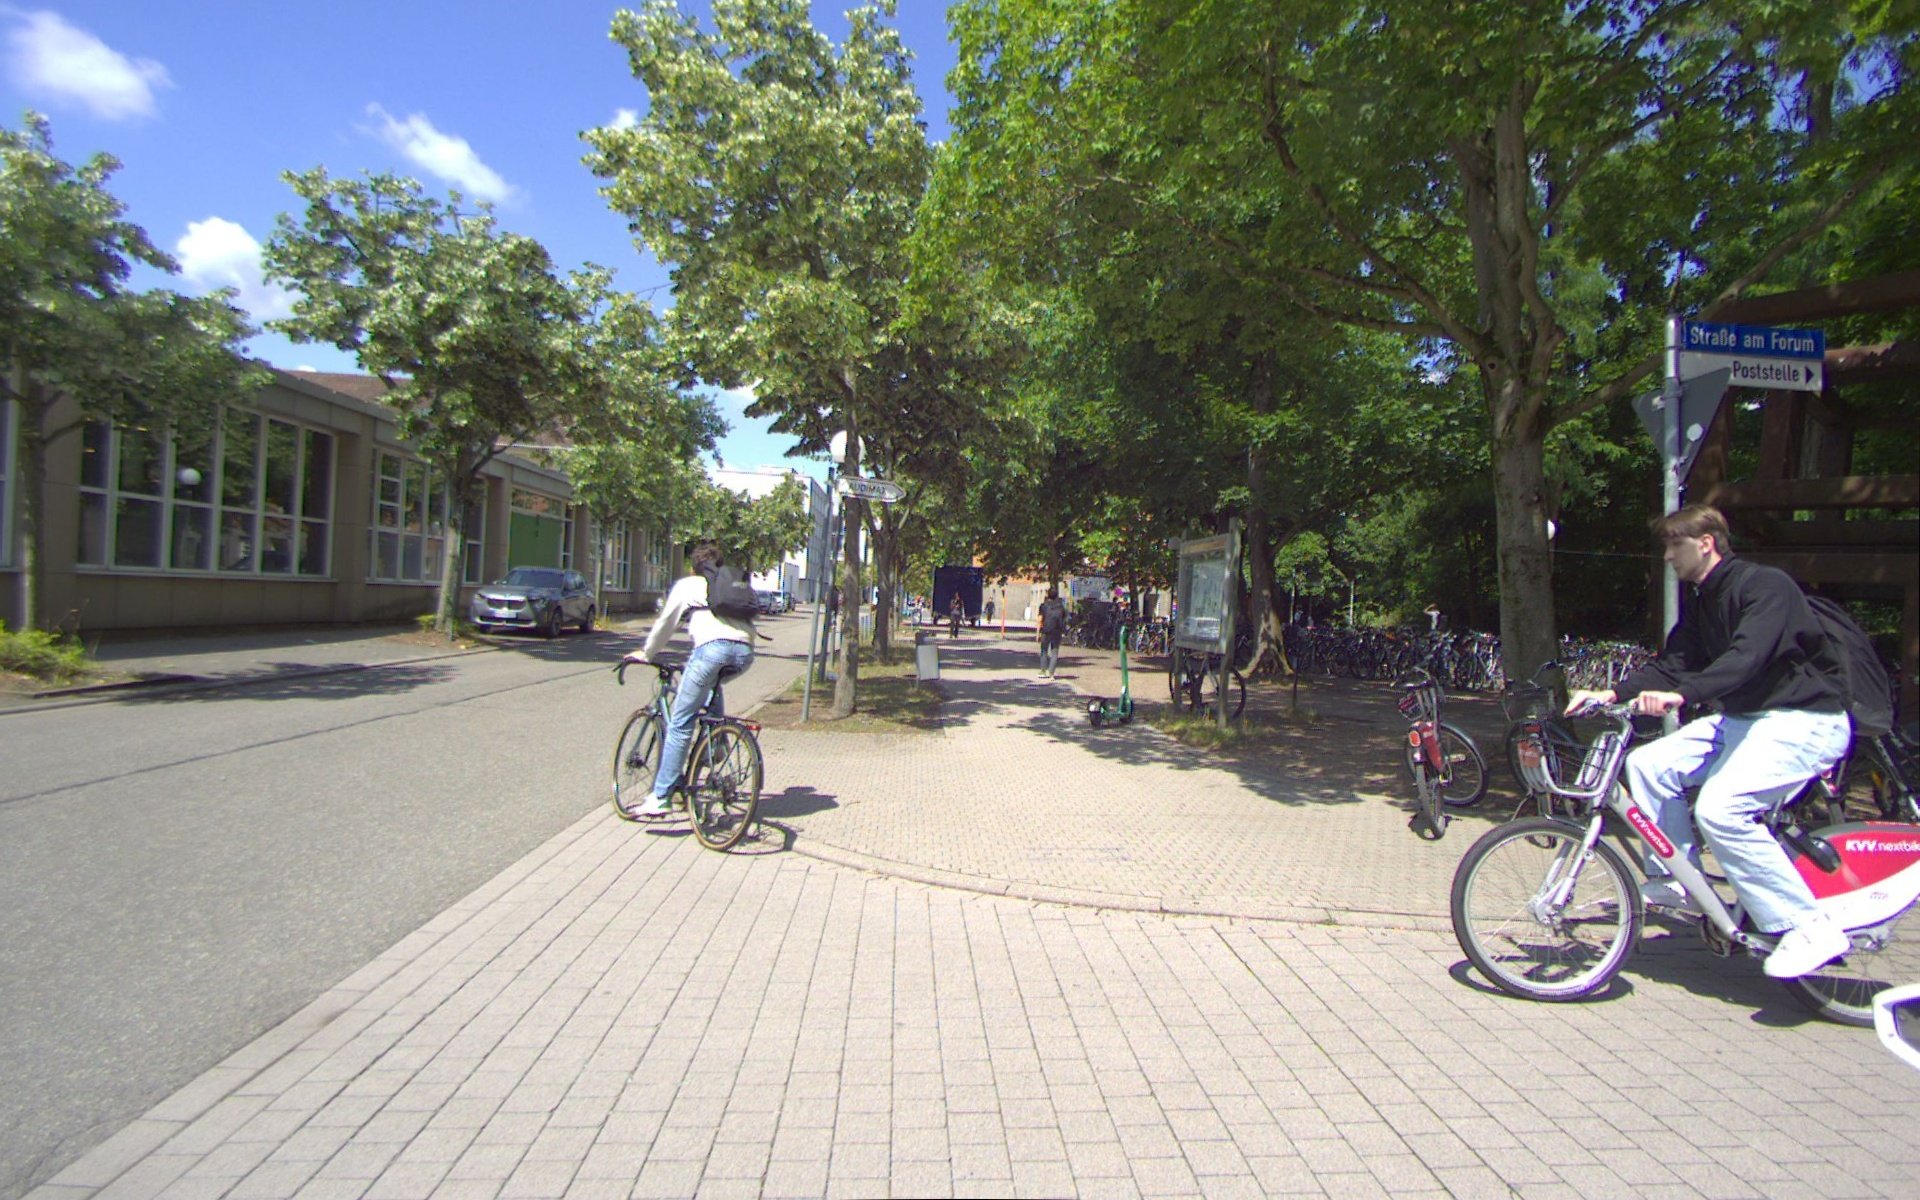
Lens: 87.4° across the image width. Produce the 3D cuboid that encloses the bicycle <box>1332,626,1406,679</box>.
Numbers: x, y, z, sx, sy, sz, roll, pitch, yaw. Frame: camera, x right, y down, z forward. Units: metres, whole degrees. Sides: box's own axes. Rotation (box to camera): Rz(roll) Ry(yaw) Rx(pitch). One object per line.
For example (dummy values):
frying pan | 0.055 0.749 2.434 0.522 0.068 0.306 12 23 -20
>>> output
bicycle | 9.151 1.178 22.434 2.011 1.123 0.498 3 1 -36

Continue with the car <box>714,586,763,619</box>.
car | -11.463 0.142 52.169 1.803 1.561 4.536 3 0 -4

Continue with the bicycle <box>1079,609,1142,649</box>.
bicycle | 4.629 0.905 30.882 2.007 1.123 0.499 3 1 -30

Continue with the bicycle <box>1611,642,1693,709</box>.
bicycle | 12.541 1.368 18.181 1.887 1.123 0.498 3 1 -33

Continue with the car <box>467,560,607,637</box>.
car | -10.476 -0.036 25.265 1.804 1.638 4.536 4 0 -4

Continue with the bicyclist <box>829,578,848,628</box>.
bicyclist | -4.709 0.105 38.945 0.658 1.900 0.826 2 0 -8

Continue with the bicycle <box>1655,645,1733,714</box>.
bicycle | 12.858 1.382 17.580 1.889 1.123 0.497 3 1 -36

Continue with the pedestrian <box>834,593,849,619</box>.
pedestrian | -8.593 0.418 73.022 0.760 1.798 0.901 3 1 -26

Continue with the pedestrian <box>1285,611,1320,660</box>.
pedestrian | 13.064 1.361 38.320 0.758 1.798 0.903 3 1 -20

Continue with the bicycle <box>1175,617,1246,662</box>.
bicycle | 6.706 1.062 26.829 2.007 1.123 0.499 3 1 -30

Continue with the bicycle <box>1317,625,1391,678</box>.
bicycle | 8.940 1.174 22.743 2.011 1.123 0.498 3 1 -36

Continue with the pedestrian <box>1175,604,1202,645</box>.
pedestrian | 10.437 1.108 45.895 0.758 1.826 0.903 3 1 -20

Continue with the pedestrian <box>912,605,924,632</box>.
pedestrian | -2.439 1.100 58.758 0.610 1.540 0.736 3 1 0

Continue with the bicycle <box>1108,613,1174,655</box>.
bicycle | 5.279 0.991 29.218 2.007 1.123 0.499 3 1 -30

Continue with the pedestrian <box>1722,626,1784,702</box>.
pedestrian | 19.771 1.581 25.058 0.760 1.798 0.901 3 1 -26

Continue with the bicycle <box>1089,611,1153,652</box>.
bicycle | 4.862 0.964 30.268 2.007 1.123 0.499 3 1 -30

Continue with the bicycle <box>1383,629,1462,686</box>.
bicycle | 9.833 1.227 21.338 1.984 1.123 0.498 3 1 -33

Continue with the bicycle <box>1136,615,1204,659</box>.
bicycle | 5.867 1.039 28.012 2.007 1.123 0.499 3 1 -30

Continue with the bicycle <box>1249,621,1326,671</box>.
bicycle | 7.921 1.114 24.229 2.007 1.123 0.499 3 1 -30

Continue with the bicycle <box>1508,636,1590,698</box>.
bicycle | 11.446 1.309 19.504 1.984 1.123 0.498 3 1 -33

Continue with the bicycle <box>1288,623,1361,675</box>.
bicycle | 8.503 1.152 23.371 2.011 1.123 0.498 3 1 -36

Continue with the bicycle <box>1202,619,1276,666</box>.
bicycle | 7.173 1.092 25.782 2.007 1.123 0.499 3 1 -30

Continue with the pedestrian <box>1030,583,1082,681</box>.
pedestrian | 1.736 0.579 18.234 0.714 1.706 0.873 2 0 -6

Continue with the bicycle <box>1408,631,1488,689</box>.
bicycle | 10.139 1.250 20.832 1.984 1.123 0.498 3 1 -33

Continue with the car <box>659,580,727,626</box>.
car | -10.780 0.130 40.893 1.803 1.655 4.536 3 0 -4

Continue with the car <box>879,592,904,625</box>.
car | -6.966 0.890 102.668 2.226 3.053 5.736 4 -1 -4

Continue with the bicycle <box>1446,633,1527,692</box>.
bicycle | 10.628 1.265 20.256 1.984 1.123 0.498 3 1 -33

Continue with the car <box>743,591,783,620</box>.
car | -11.861 0.327 60.767 1.803 1.561 4.536 3 0 -4

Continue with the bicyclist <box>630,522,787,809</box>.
bicyclist | -1.543 0.359 6.110 0.635 1.595 0.866 0 2 -37

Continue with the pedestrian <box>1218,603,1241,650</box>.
pedestrian | 10.712 1.057 39.946 0.598 1.798 0.658 3 1 -9

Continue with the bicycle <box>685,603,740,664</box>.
bicycle | -4.861 0.642 19.820 0.593 1.123 2.072 2 -1 -2

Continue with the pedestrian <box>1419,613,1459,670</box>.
pedestrian | 15.680 1.352 32.913 0.755 1.798 0.907 3 1 -2

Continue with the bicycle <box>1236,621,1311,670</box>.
bicycle | 7.731 1.121 24.739 2.007 1.123 0.499 3 1 -30

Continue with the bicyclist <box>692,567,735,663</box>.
bicyclist | -4.840 0.296 19.757 0.593 1.825 0.898 2 0 -2

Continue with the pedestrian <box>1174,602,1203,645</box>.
pedestrian | 9.740 0.997 42.815 0.758 1.798 0.903 3 1 -20

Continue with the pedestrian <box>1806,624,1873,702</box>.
pedestrian | 21.157 1.502 24.178 0.759 1.798 0.901 3 1 -25

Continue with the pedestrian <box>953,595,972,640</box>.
pedestrian | 0.080 0.595 34.954 0.559 1.540 0.840 3 1 -1

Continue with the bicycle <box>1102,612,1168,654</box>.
bicycle | 5.165 0.973 29.598 2.007 1.123 0.499 3 1 -30

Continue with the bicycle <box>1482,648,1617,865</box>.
bicycle | 3.733 0.910 6.470 0.579 1.123 1.744 1 0 25

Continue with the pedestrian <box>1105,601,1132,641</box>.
pedestrian | 7.365 0.964 46.743 0.906 1.798 0.782 3 1 -20

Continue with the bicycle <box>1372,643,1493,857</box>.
bicycle | 3.143 0.907 6.696 0.627 1.175 1.628 1 0 25

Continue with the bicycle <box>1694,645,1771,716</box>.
bicycle | 13.230 1.369 17.186 1.889 1.123 0.497 3 1 -36

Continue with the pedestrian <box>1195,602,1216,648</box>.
pedestrian | 9.752 0.991 39.924 0.493 1.795 0.670 3 1 -6

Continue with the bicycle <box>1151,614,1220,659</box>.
bicycle | 6.175 1.005 27.463 2.007 1.123 0.499 3 1 -30

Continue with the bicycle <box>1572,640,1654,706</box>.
bicycle | 12.017 1.343 18.478 1.887 1.123 0.498 3 1 -33

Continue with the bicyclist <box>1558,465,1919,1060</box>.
bicyclist | 2.865 0.517 3.637 0.950 1.913 0.675 2 2 12

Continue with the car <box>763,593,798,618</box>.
car | -12.003 0.386 67.394 1.803 1.561 4.536 3 0 -4

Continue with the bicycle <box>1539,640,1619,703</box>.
bicycle | 11.766 1.365 19.075 1.887 1.123 0.498 3 1 -33

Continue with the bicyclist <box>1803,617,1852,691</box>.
bicyclist | 19.593 1.213 22.688 0.591 1.589 0.712 3 1 -42
